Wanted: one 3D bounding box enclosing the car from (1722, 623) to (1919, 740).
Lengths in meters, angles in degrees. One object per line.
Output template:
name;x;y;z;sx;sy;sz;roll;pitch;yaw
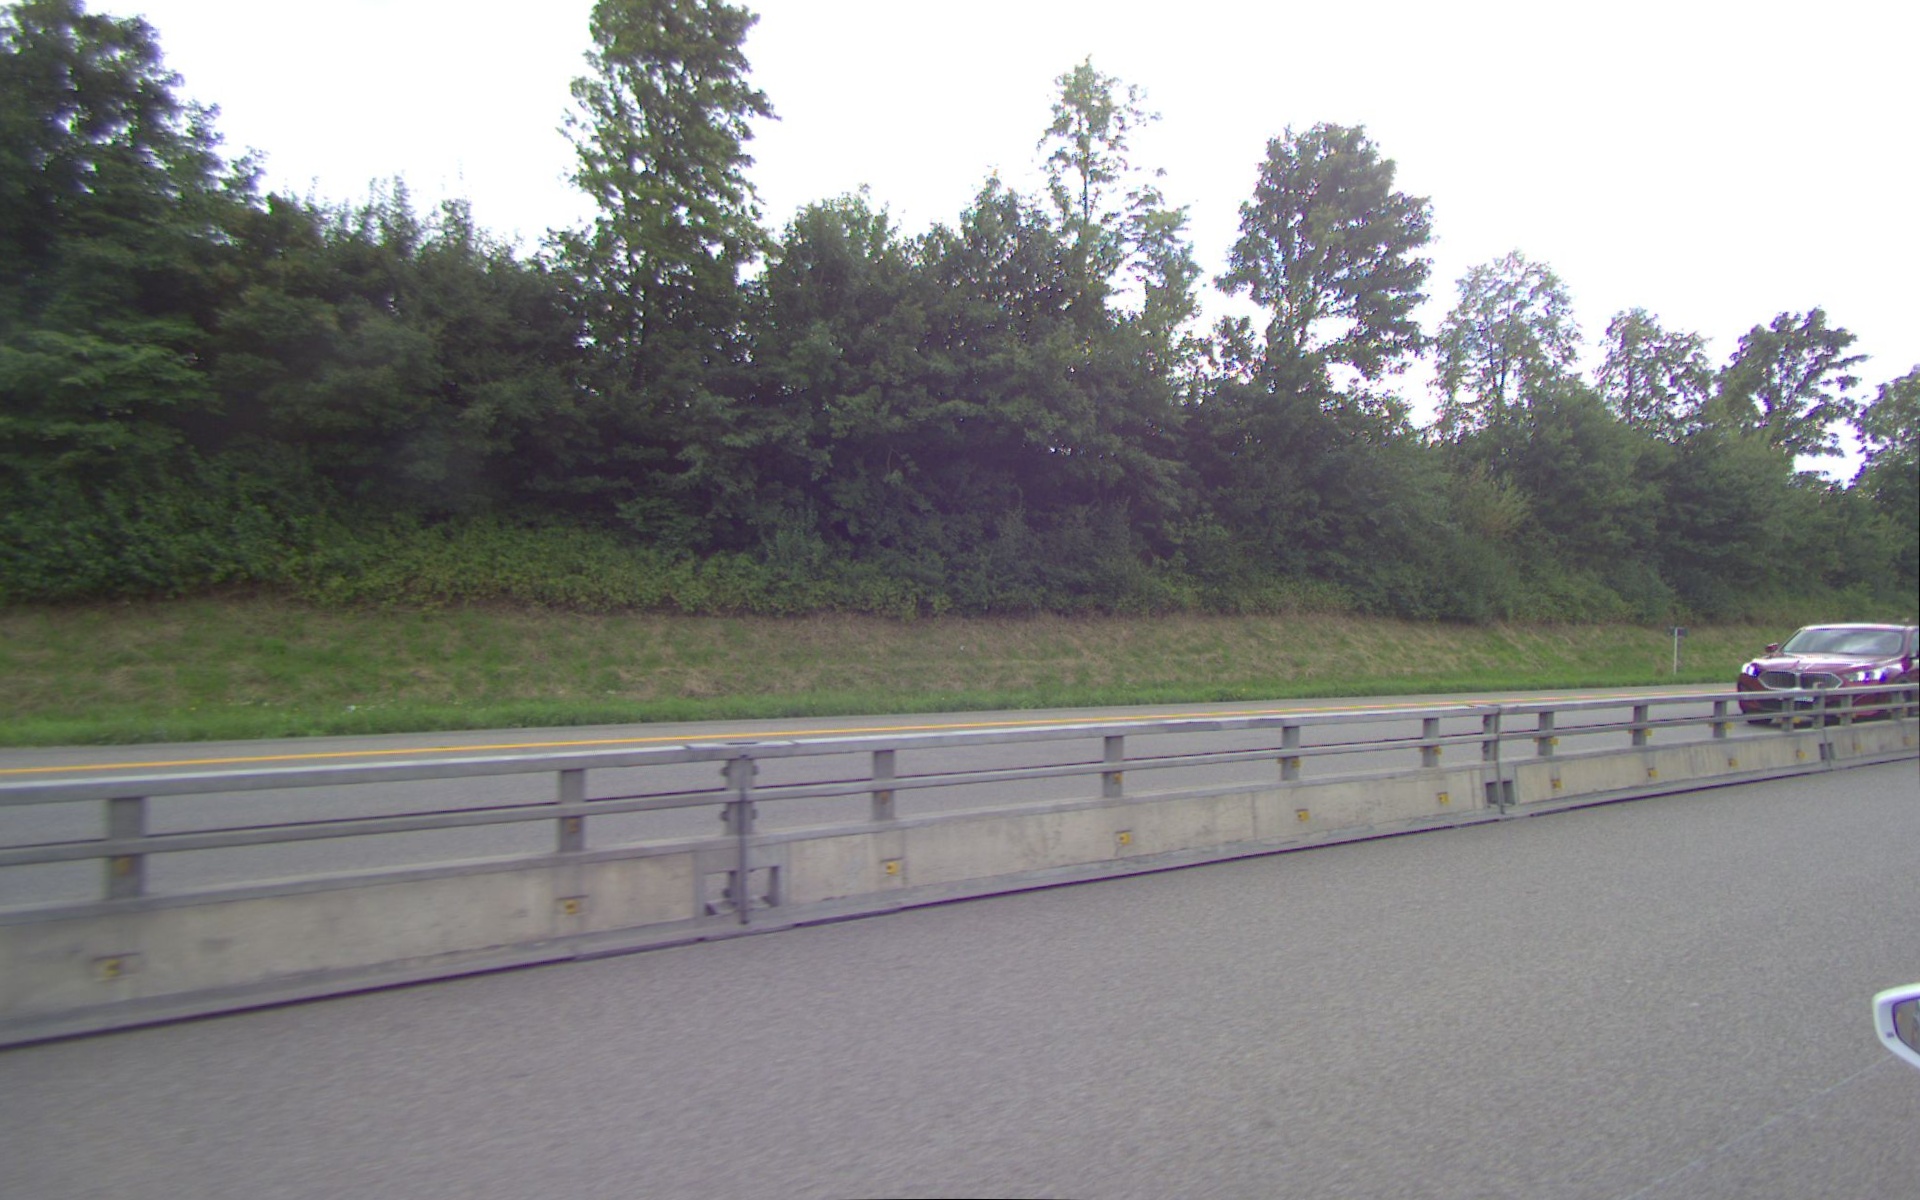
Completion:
car;13.979;1.167;15.596;4.538;1.510;1.923;1;1;-32
